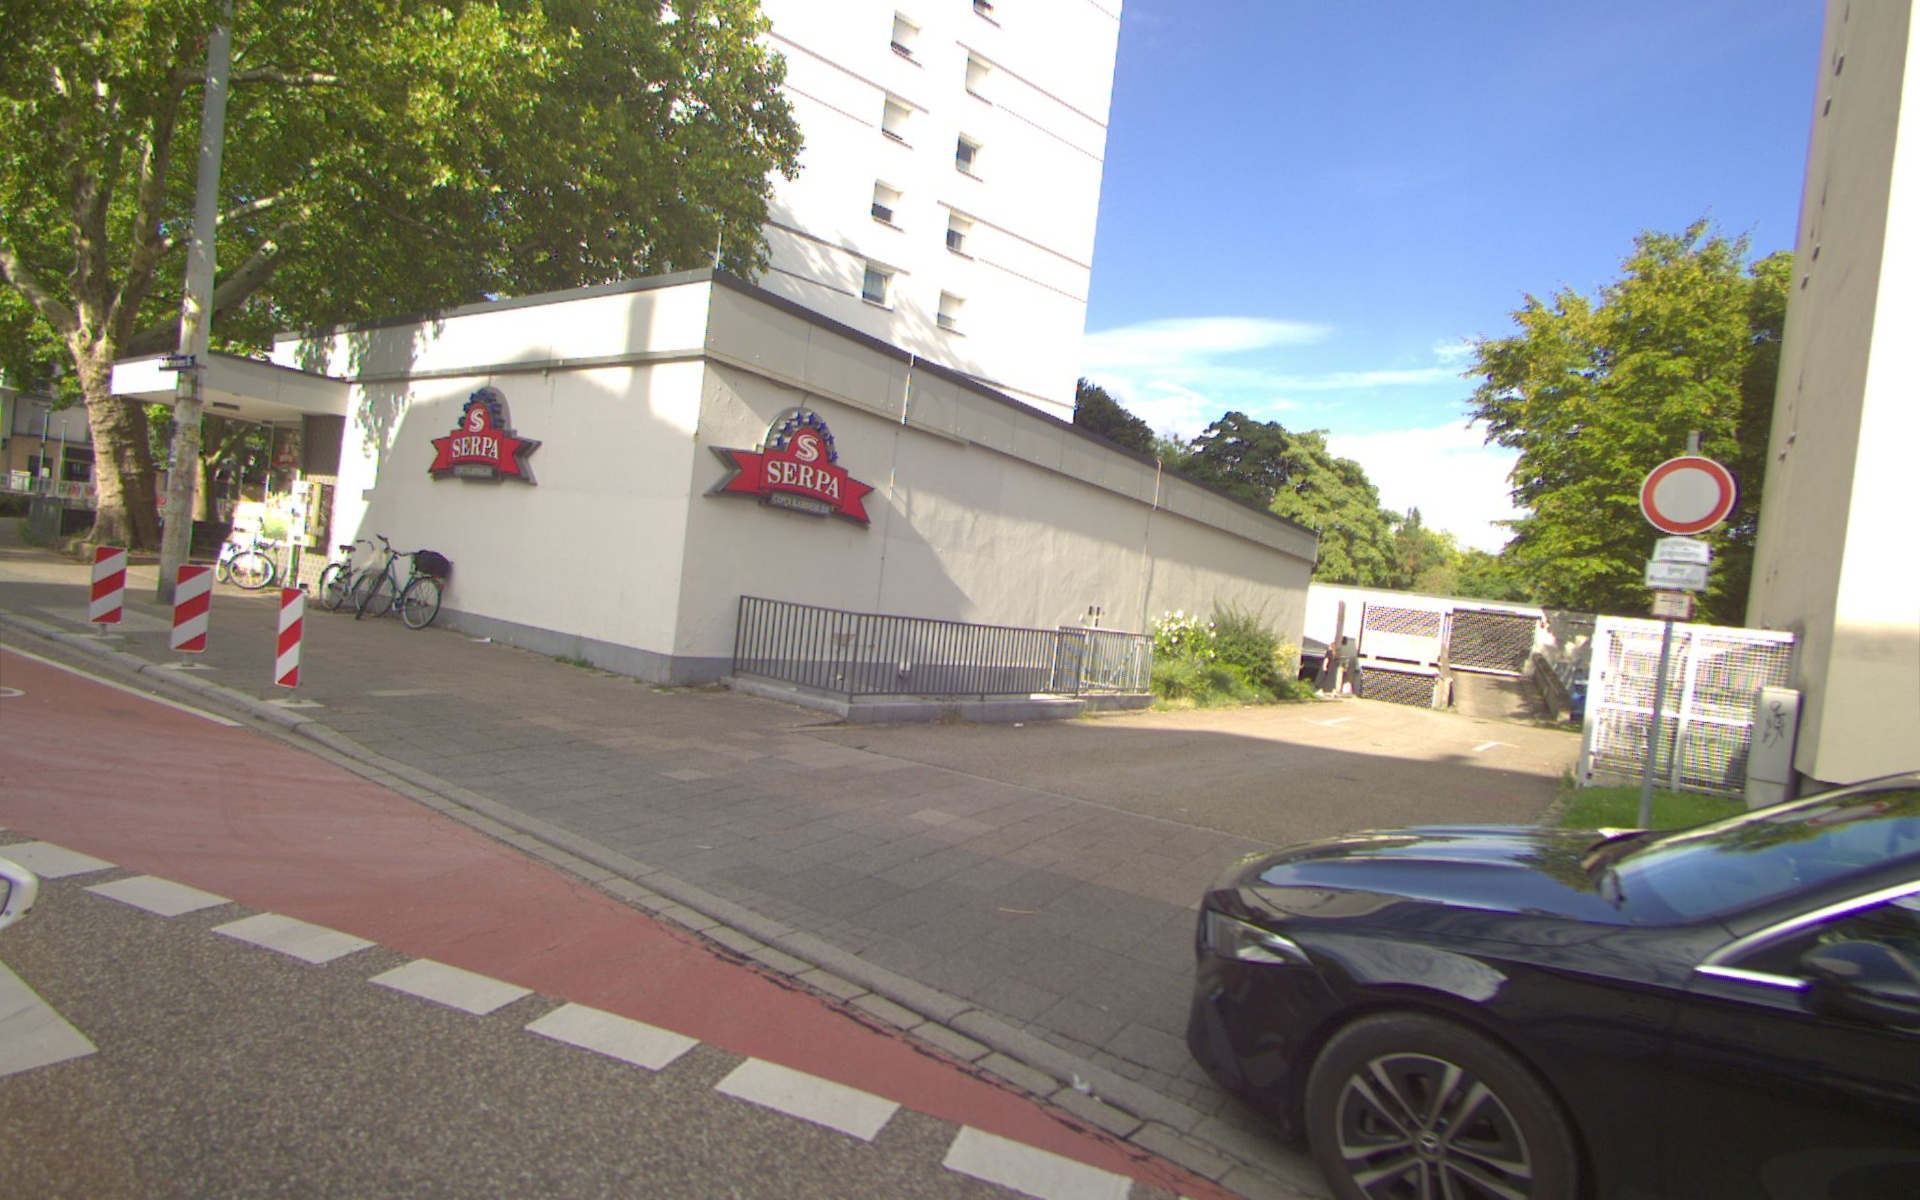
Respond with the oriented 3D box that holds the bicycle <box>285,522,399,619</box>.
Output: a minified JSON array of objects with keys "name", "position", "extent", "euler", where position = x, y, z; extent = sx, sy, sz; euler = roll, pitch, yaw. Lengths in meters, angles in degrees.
[{"name":"bicycle","position":[-9.163,-0.445,14.891],"extent":[1.742,1.221,0.711],"euler":[7,1,35]}]

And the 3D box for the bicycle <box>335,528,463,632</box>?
[{"name":"bicycle","position":[-7.724,-0.289,13.824],"extent":[1.787,1.222,0.768],"euler":[7,3,35]}]

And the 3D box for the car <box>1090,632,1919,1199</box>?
[{"name":"car","position":[2.658,1.065,2.602],"extent":[4.166,1.430,1.760],"euler":[7,2,35]}]

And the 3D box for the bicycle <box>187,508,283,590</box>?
[{"name":"bicycle","position":[-12.244,-0.864,16.968],"extent":[1.786,1.223,0.711],"euler":[6,4,33]}]
